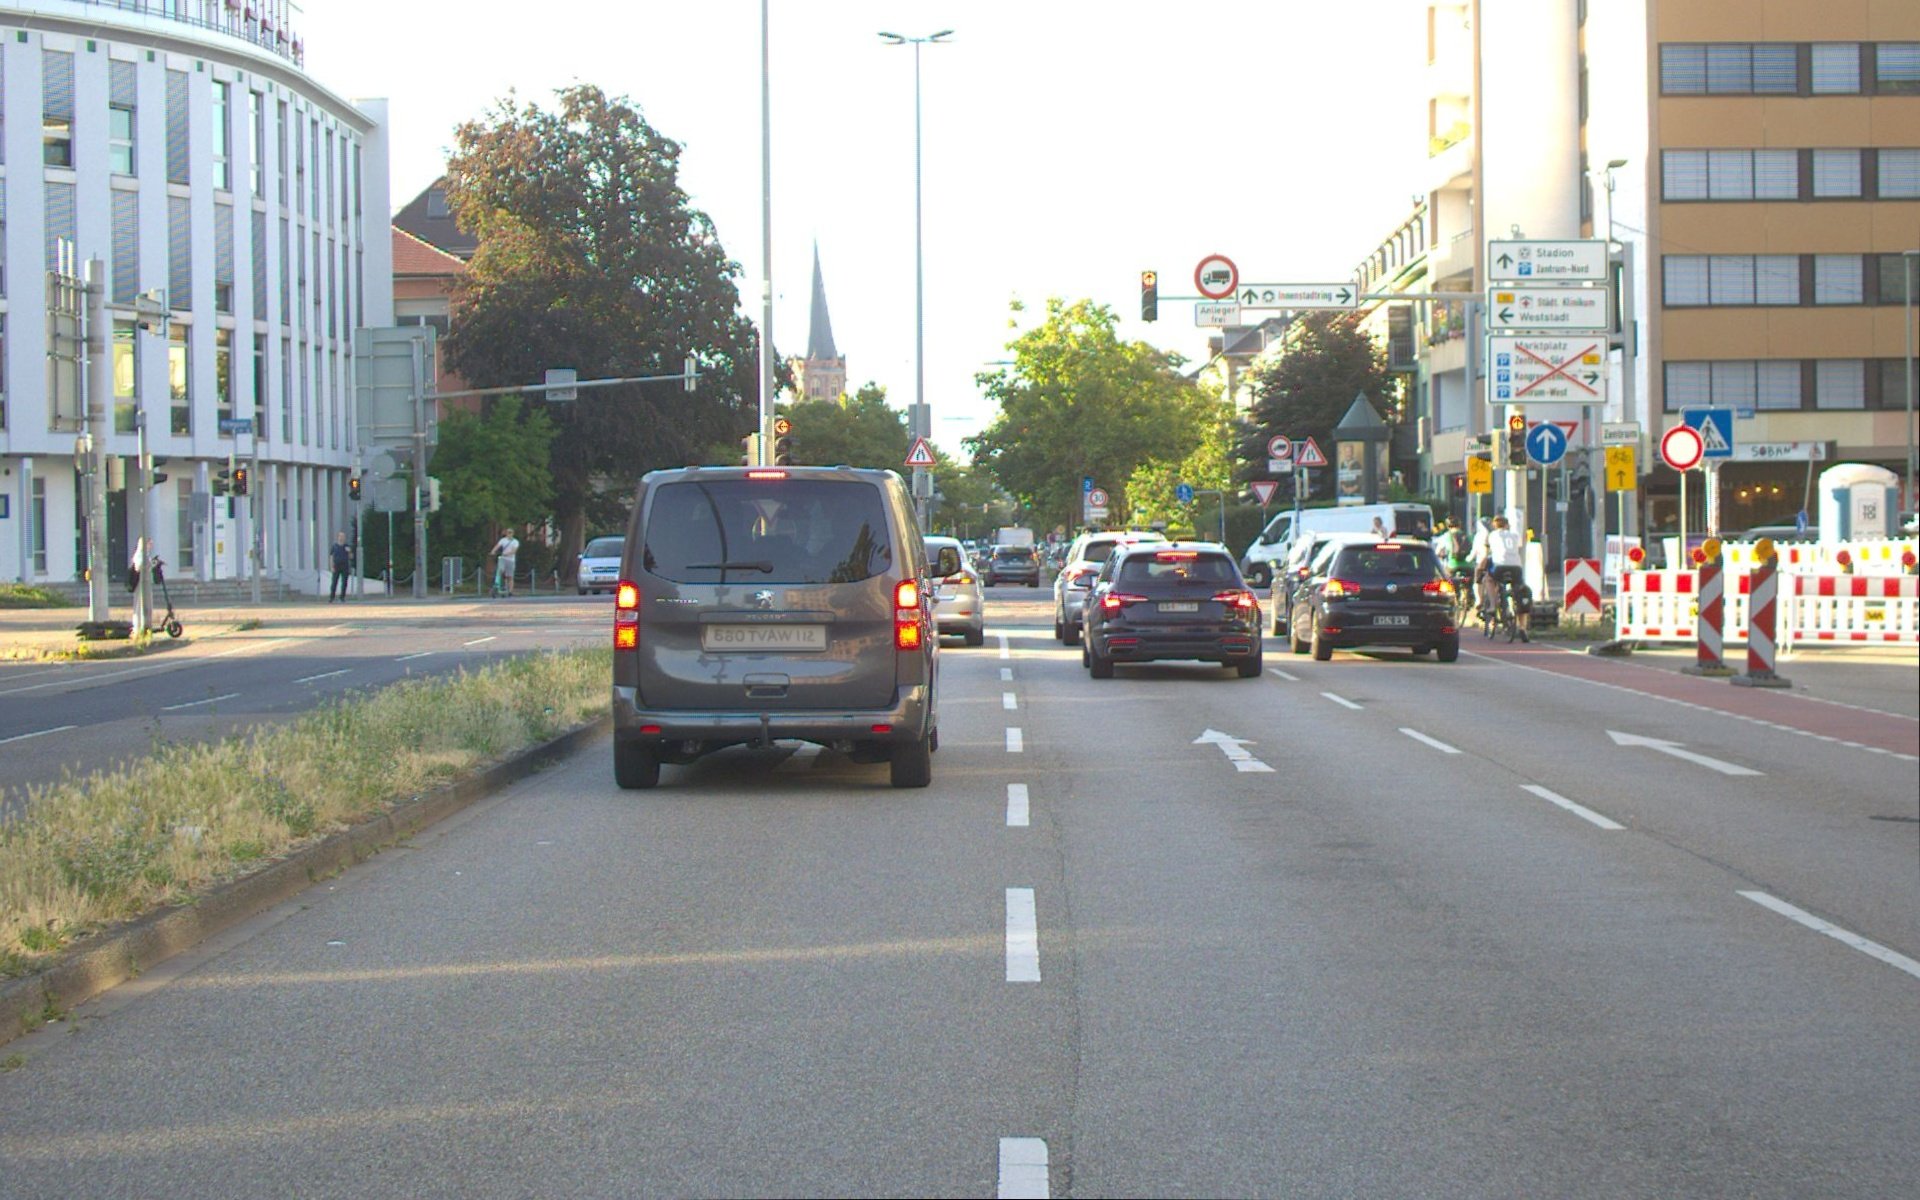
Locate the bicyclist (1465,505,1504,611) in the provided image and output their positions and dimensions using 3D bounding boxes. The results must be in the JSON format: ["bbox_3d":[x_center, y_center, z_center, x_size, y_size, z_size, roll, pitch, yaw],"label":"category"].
[{"bbox_3d":[7.612,-0.614,49.902,0.441,1.520,0.725,-1,1,0],"label":"bicyclist"}]

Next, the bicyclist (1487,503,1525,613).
[{"bbox_3d":[7.562,-0.584,47.608,0.441,1.520,0.482,-1,1,0],"label":"bicyclist"}]

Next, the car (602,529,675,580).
[{"bbox_3d":[-9.441,-1.352,101.183,1.856,1.415,4.001,-1,1,-1],"label":"car"}]

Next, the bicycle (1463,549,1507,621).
[{"bbox_3d":[7.601,-0.228,49.828,0.336,1.004,1.856,-1,1,0],"label":"bicycle"}]

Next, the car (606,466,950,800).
[{"bbox_3d":[-1.031,0.131,21.600,1.907,1.857,4.527,1,1,0],"label":"car"}]

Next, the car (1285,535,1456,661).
[{"bbox_3d":[5.007,-0.060,42.325,1.634,1.444,3.745,1,1,0],"label":"car"}]

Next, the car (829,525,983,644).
[{"bbox_3d":[-0.704,-0.244,46.942,1.993,1.525,4.000,-1,1,0],"label":"car"}]

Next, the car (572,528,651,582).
[{"bbox_3d":[-9.615,-1.266,95.169,1.856,1.415,4.001,-1,1,-1],"label":"car"}]

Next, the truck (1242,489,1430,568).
[{"bbox_3d":[10.193,-1.946,93.408,4.626,2.079,2.130,0,2,38],"label":"truck"}]

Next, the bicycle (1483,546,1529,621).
[{"bbox_3d":[7.565,-0.235,47.690,0.336,1.004,1.856,-1,1,0],"label":"bicycle"}]

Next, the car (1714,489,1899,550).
[{"bbox_3d":[20.589,-1.970,83.665,3.986,1.415,1.788,-1,1,-6],"label":"car"}]

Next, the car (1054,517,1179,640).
[{"bbox_3d":[2.130,-0.329,47.575,1.529,1.608,3.745,1,1,0],"label":"car"}]

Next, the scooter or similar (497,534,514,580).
[{"bbox_3d":[-12.062,-1.144,91.165,0.285,1.184,1.169,-1,1,0],"label":"scooter or similar"}]

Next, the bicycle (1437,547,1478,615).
[{"bbox_3d":[7.633,-0.301,52.798,0.336,1.004,1.856,-1,1,0],"label":"bicycle"}]

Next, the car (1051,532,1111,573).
[{"bbox_3d":[4.326,-1.716,123.465,1.904,1.367,4.001,-1,1,-1],"label":"car"}]

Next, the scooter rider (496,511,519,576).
[{"bbox_3d":[-12.012,-1.502,91.263,0.481,1.691,0.636,-1,1,0],"label":"scooter rider"}]

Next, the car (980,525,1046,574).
[{"bbox_3d":[1.807,-1.752,118.291,1.993,1.656,4.001,-1,1,-2],"label":"car"}]

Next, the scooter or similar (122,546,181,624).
[{"bbox_3d":[-12.995,-0.239,55.283,0.893,1.229,0.371,-1,1,-11],"label":"scooter or similar"}]

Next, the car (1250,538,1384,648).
[{"bbox_3d":[4.960,-0.120,48.032,1.504,1.444,3.305,-1,1,0],"label":"car"}]

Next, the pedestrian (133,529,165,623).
[{"bbox_3d":[-13.060,-0.384,55.371,0.474,1.500,0.335,-1,1,-12],"label":"pedestrian"}]

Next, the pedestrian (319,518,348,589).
[{"bbox_3d":[-15.298,-1.127,83.942,0.625,1.716,0.671,-1,1,-14],"label":"pedestrian"}]

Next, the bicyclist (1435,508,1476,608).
[{"bbox_3d":[7.618,-0.654,52.838,0.513,1.520,0.725,-1,1,0],"label":"bicyclist"}]

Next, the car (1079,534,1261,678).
[{"bbox_3d":[2.205,0.023,37.034,1.681,1.416,4.214,1,1,0],"label":"car"}]
